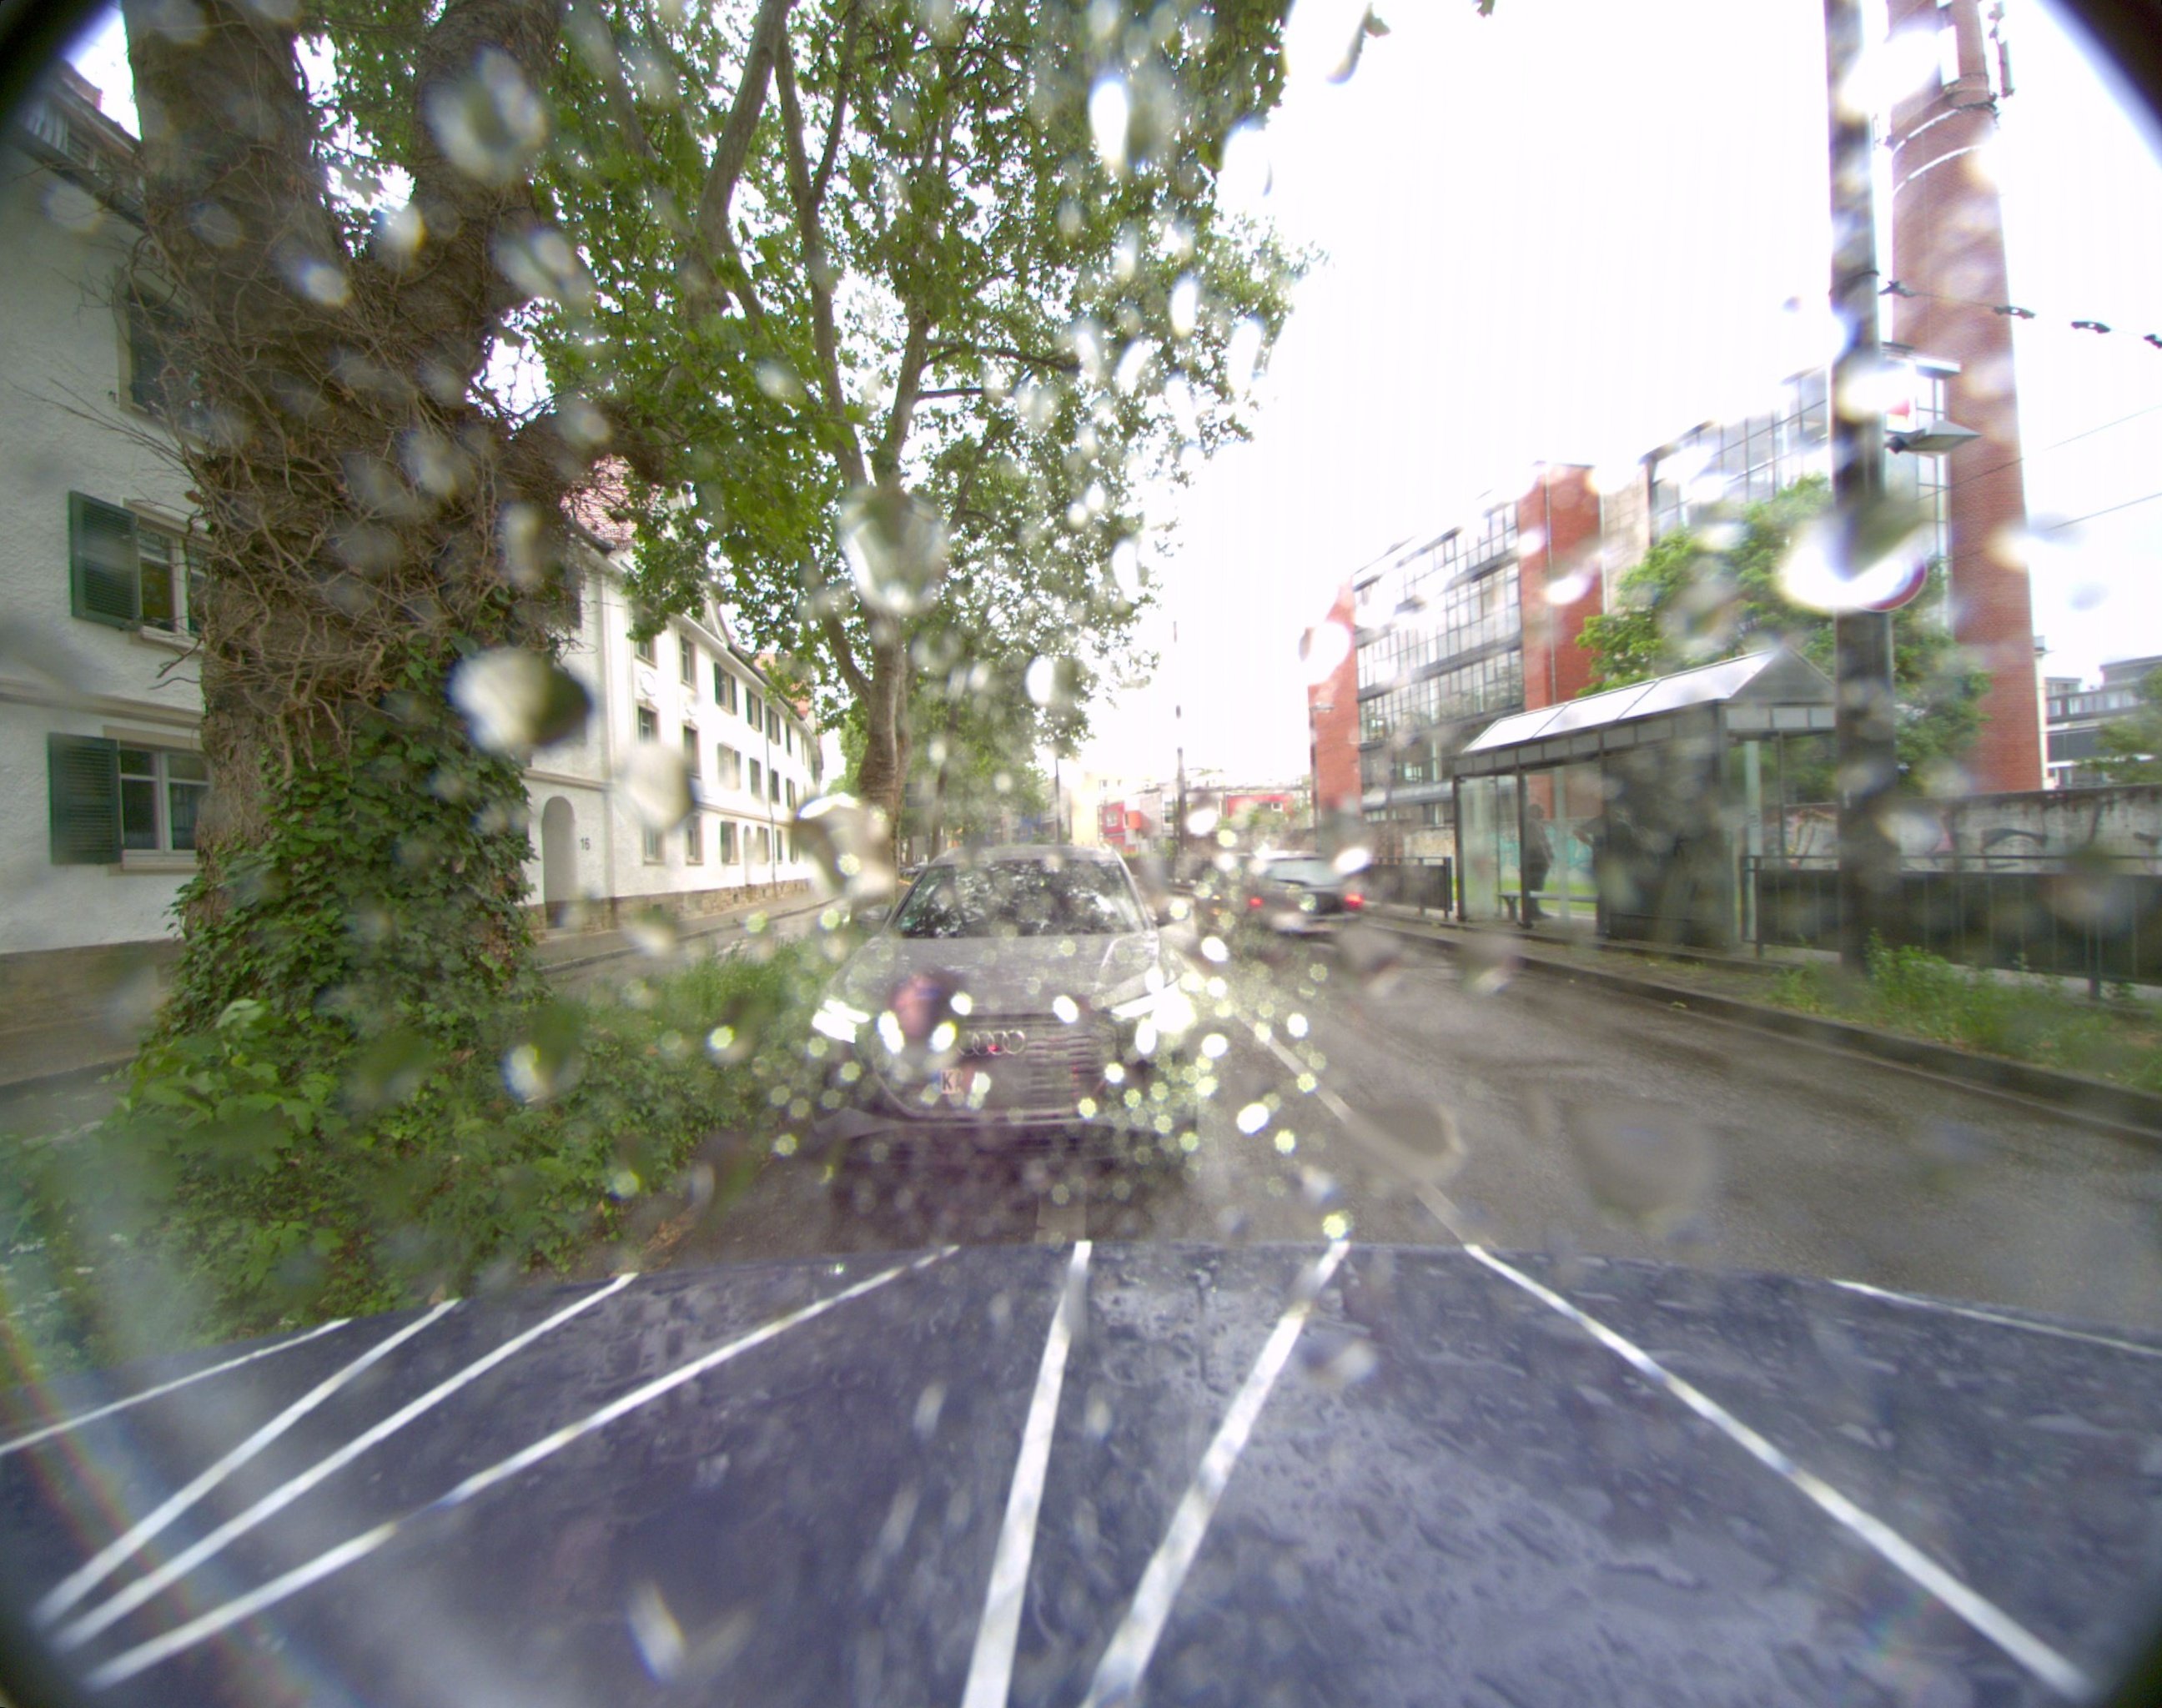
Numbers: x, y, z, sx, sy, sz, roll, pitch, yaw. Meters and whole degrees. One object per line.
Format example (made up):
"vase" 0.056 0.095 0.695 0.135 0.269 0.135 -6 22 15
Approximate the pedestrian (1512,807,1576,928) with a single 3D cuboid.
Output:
"pedestrian" 6.867 0.199 11.288 0.629 1.738 0.514 -2 1 9

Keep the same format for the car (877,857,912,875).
"car" -23.210 1.507 94.660 4.002 2.002 1.997 -2 0 -17

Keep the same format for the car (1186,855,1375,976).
"car" 2.846 0.795 11.711 1.718 1.451 3.746 -2 1 -3

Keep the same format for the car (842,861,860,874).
"car" -28.330 1.610 93.532 1.834 1.517 3.993 -3 1 -19

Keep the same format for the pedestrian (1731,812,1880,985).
"pedestrian" 8.048 0.470 8.475 0.828 1.794 0.843 -3 1 -10

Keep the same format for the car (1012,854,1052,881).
"car" -3.415 0.916 52.148 1.810 1.673 4.598 -3 0 -15

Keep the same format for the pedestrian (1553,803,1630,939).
"pedestrian" 6.734 0.218 10.046 0.629 1.738 0.564 -2 1 9

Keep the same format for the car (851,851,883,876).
"car" -21.176 0.919 75.107 2.199 2.250 5.401 -3 0 -24

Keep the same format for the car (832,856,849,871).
"car" -33.574 1.316 106.146 2.002 2.001 3.993 3 -1 -20

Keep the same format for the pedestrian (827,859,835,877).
"pedestrian" -25.673 1.462 78.004 0.674 1.811 0.678 -3 1 -18

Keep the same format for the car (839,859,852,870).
"car" -44.302 1.968 142.776 2.002 2.001 3.993 3 -1 -20

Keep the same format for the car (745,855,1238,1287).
"car" -0.412 0.873 5.121 1.917 1.632 4.106 -2 0 -2
